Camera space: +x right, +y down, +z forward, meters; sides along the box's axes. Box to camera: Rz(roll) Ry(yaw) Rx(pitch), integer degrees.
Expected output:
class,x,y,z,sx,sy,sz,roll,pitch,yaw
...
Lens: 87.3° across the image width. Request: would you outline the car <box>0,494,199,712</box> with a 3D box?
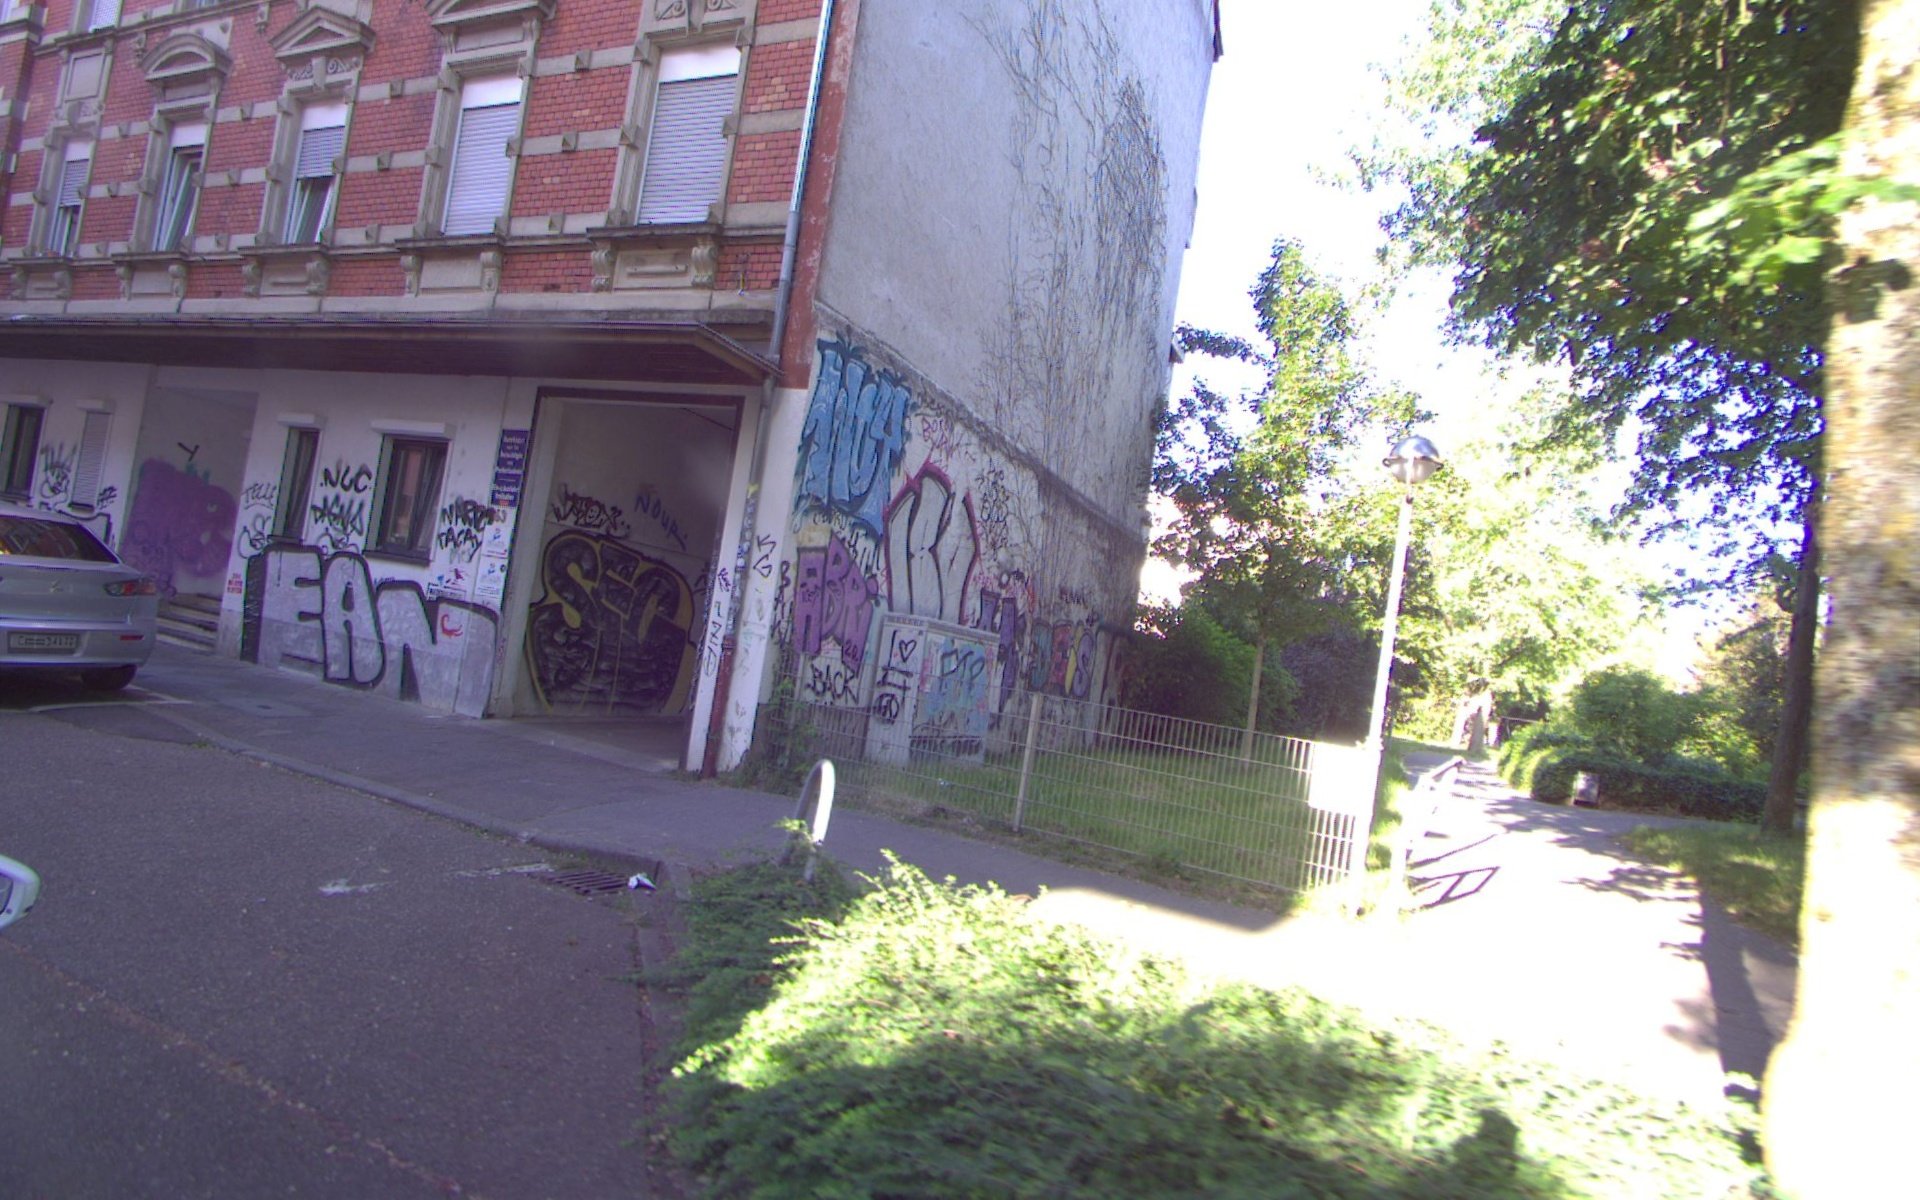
class,x,y,z,sx,sy,sz,roll,pitch,yaw
car,-8.807,-0.204,8.583,4.319,1.579,1.728,8,-2,25
